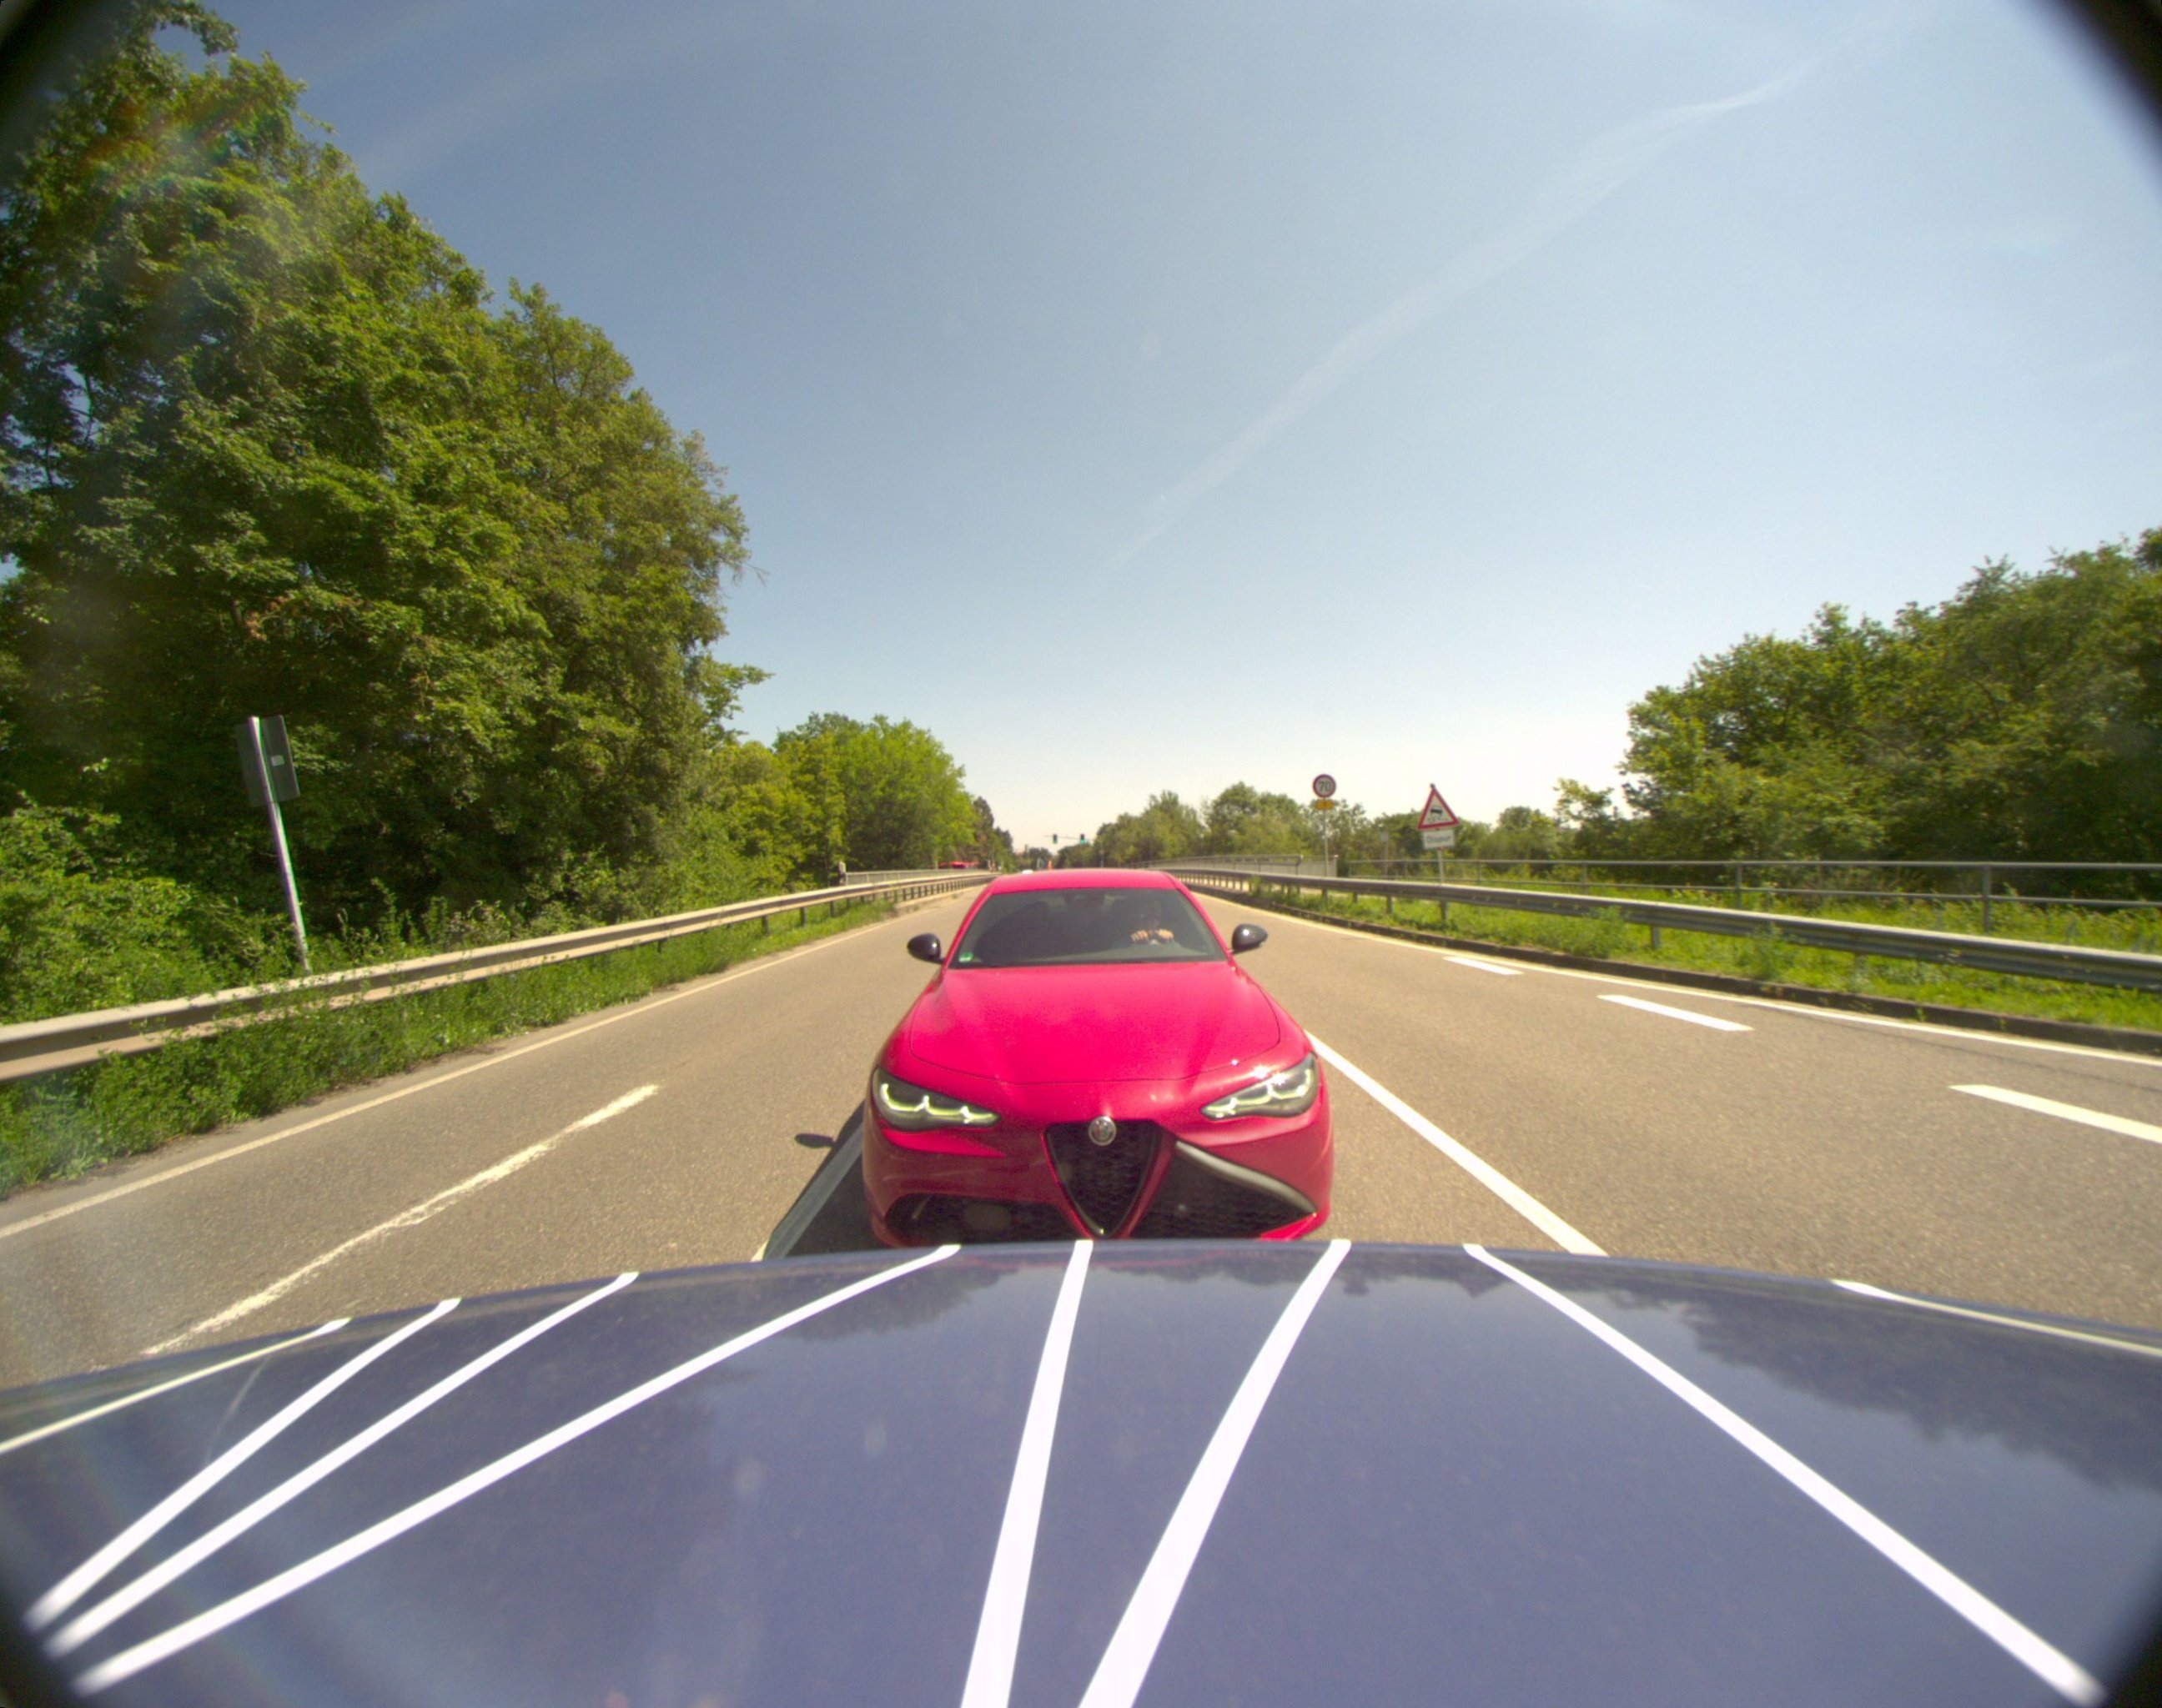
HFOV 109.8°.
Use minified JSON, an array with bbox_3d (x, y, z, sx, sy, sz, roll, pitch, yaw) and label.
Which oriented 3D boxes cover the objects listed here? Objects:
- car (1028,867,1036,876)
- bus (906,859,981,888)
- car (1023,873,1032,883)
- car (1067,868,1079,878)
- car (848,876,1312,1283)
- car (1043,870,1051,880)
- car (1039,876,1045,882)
[{"bbox_3d":[-9.059,3.208,140.229,1.476,1.565,3.487,-1,0,-4],"label":"car"},{"bbox_3d":[-18.755,2.593,102.867,12.393,3.641,2.874,-1,1,41],"label":"bus"},{"bbox_3d":[-9.332,4.187,133.039,1.416,1.499,3.315,-1,0,-3],"label":"car"},{"bbox_3d":[-1.234,2.956,118.243,1.649,1.410,3.765,-2,0,-3],"label":"car"},{"bbox_3d":[-0.042,0.944,5.128,1.801,1.448,4.284,-1,0,-1],"label":"car"},{"bbox_3d":[-9.371,5.825,210.914,1.996,2.354,5.180,-2,0,-3],"label":"car"},{"bbox_3d":[-12.507,7.937,245.568,1.848,1.758,3.999,-1,0,-1],"label":"car"}]
